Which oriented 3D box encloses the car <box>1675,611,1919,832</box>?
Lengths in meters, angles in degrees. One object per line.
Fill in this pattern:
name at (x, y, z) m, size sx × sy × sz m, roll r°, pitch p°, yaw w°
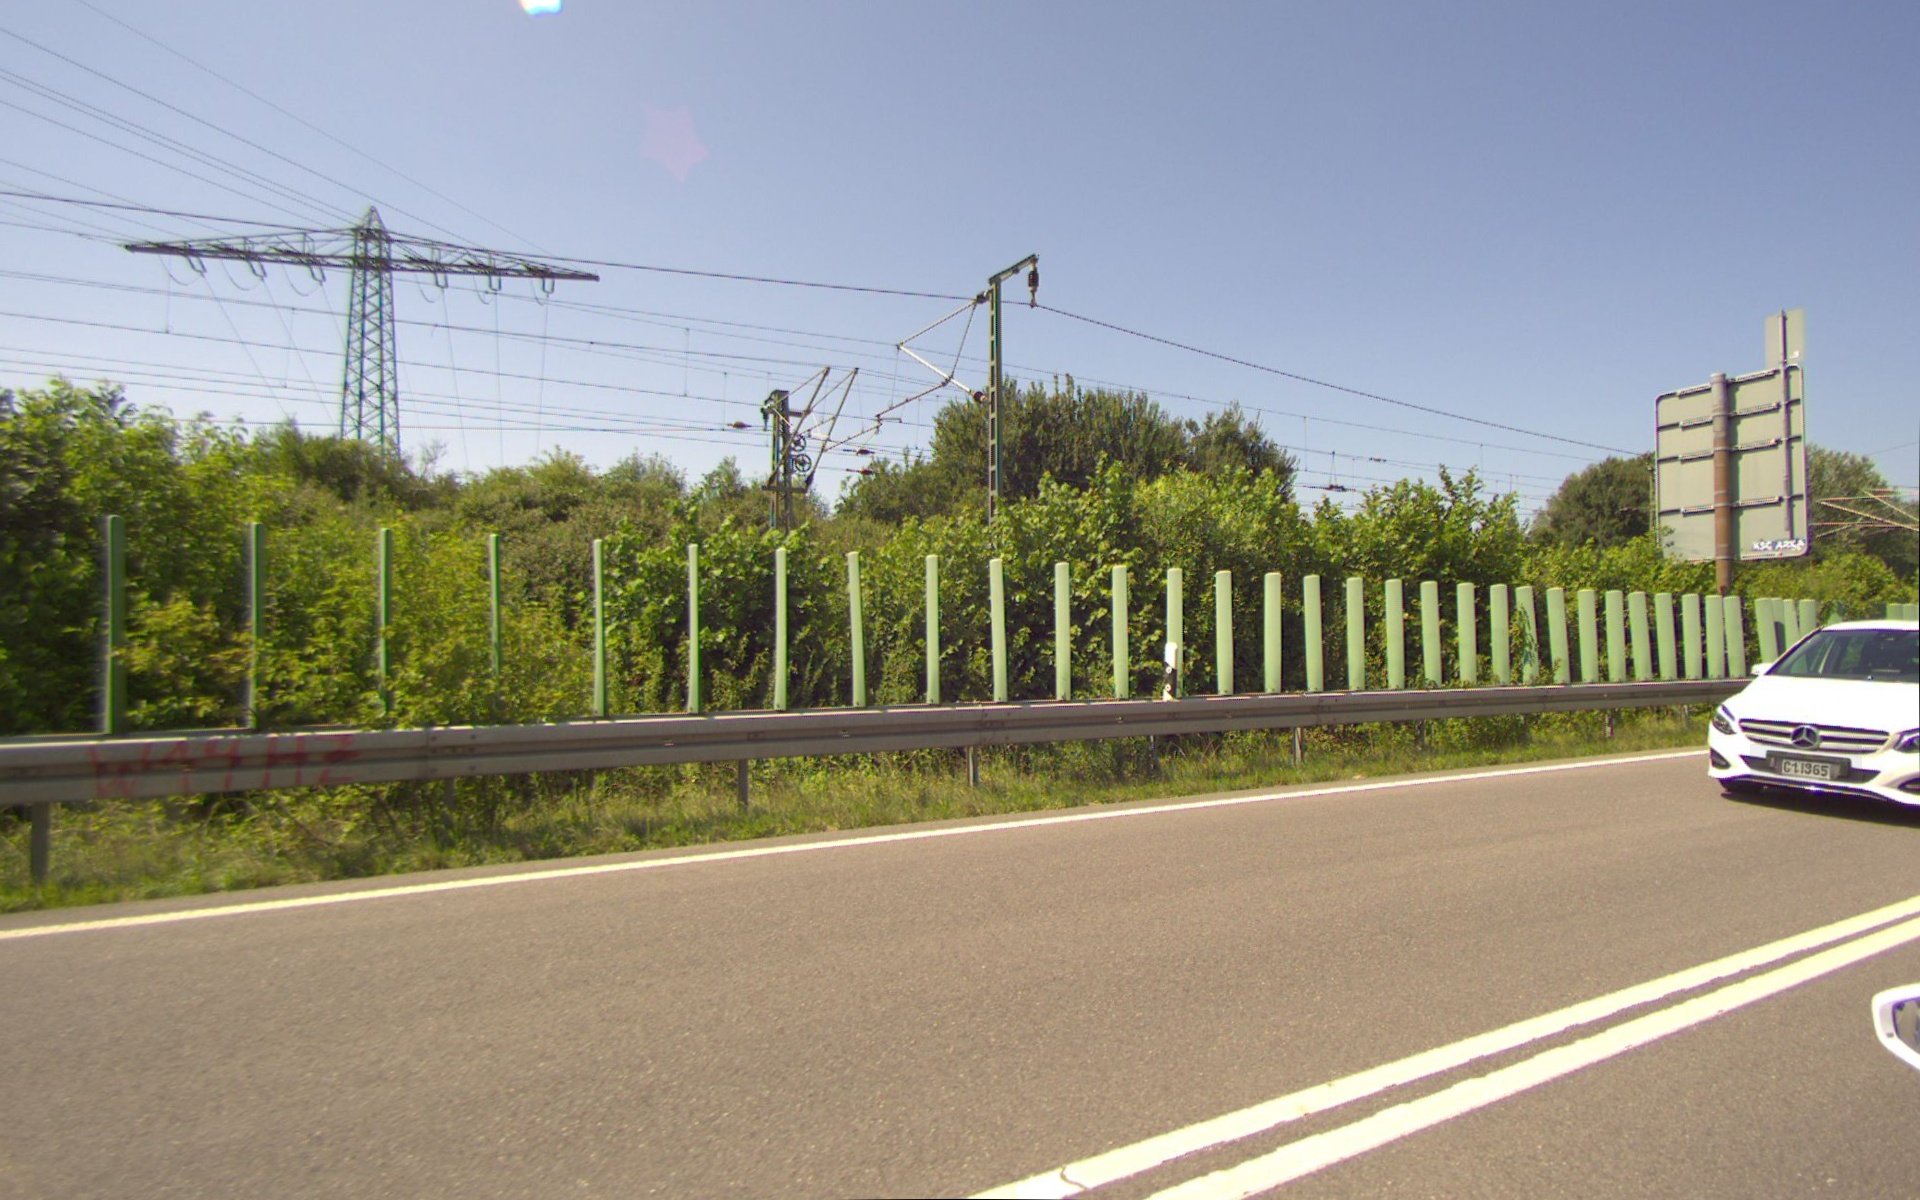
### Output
car at (8.619, 0.951, 9.172) m, size 4.272 × 1.626 × 1.816 m, roll 1°, pitch -1°, yaw -30°
